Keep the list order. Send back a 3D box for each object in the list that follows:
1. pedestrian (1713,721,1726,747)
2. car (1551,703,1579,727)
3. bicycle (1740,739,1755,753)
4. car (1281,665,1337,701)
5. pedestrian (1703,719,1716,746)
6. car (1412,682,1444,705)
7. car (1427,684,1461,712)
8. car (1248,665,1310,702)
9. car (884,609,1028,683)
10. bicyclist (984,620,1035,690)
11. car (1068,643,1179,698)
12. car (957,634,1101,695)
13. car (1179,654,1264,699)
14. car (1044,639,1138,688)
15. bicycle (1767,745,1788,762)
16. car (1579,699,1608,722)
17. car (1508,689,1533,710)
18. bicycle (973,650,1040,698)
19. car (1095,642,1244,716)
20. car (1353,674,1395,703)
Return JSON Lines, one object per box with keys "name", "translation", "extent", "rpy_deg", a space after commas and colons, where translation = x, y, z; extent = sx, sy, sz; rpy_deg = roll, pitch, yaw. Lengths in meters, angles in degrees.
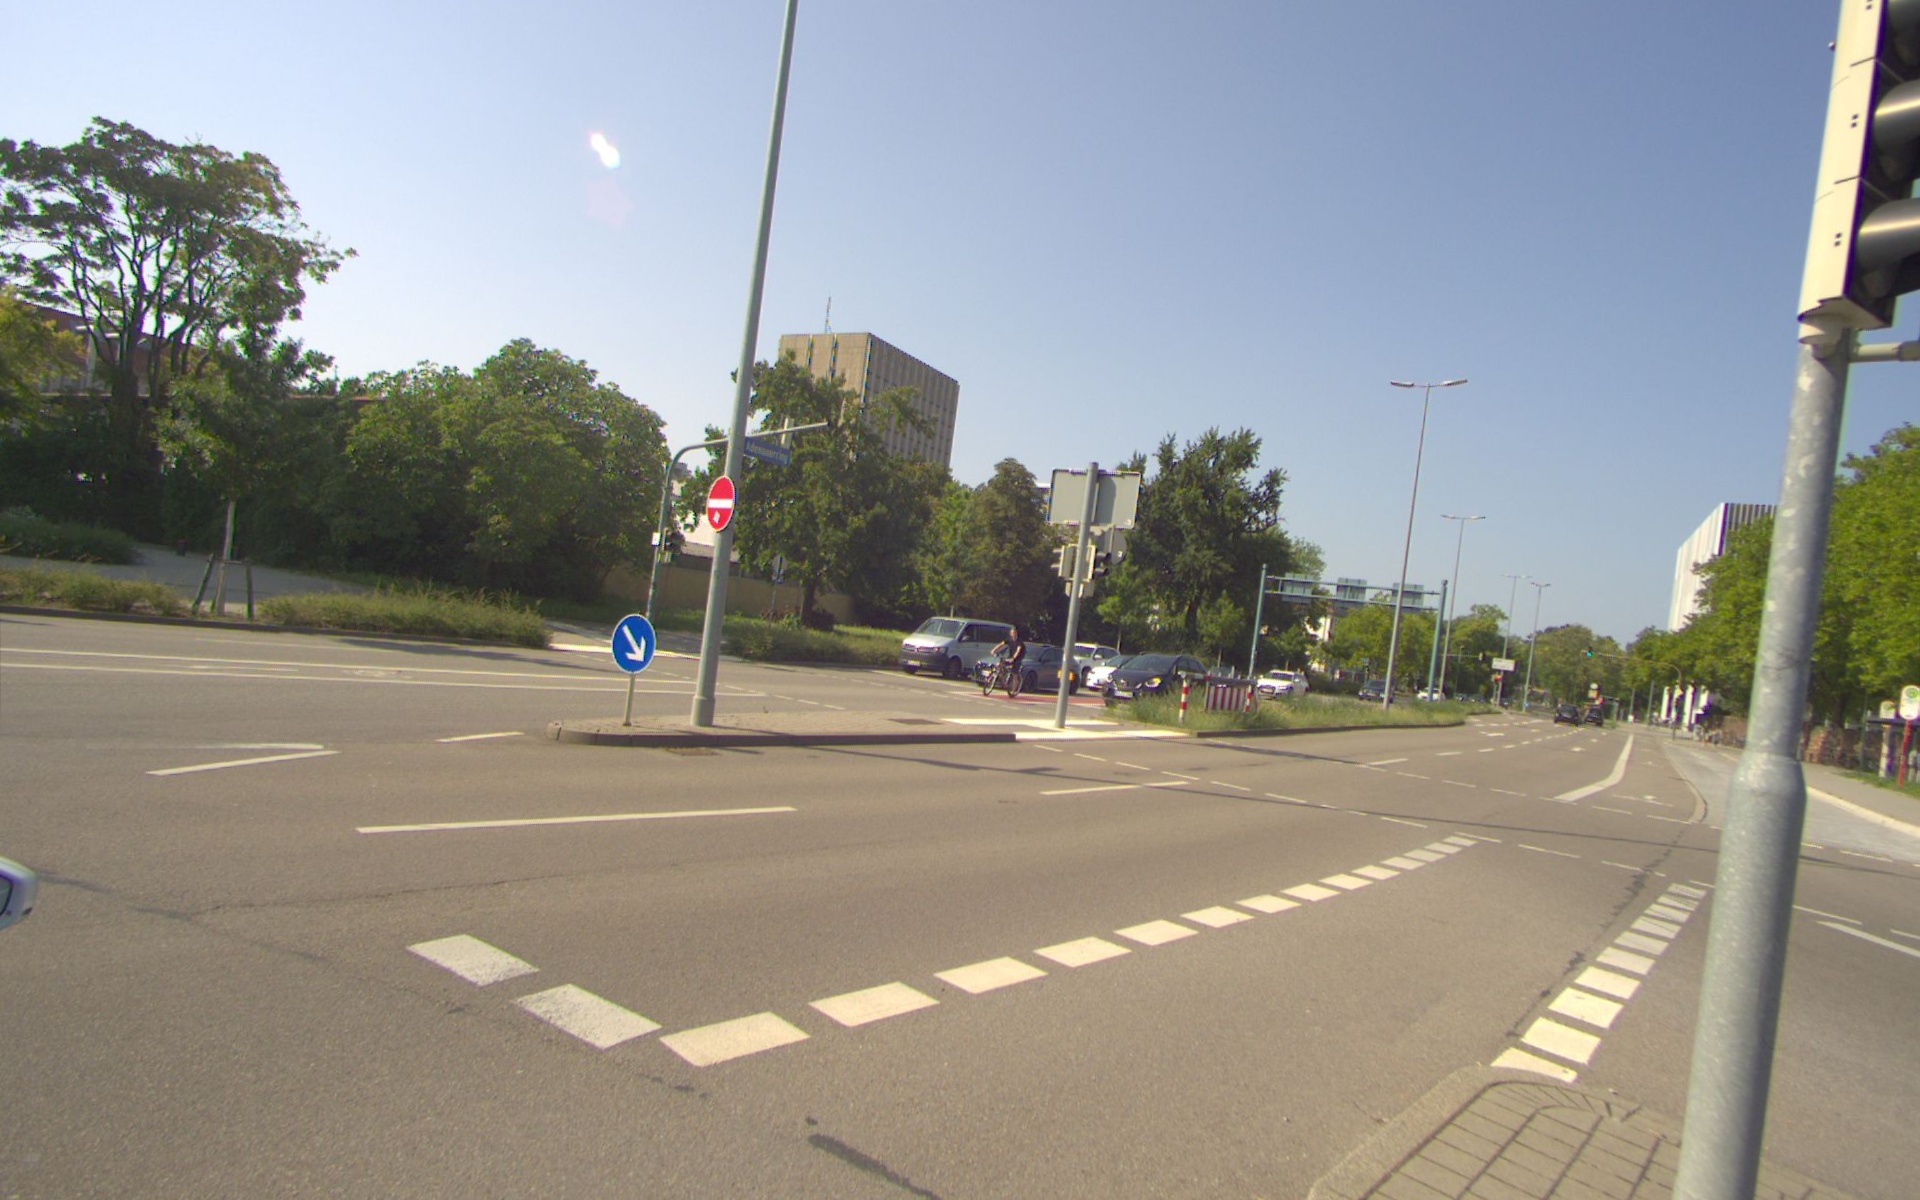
{"name": "pedestrian", "translation": [51.968, 9.169, 68.828], "extent": [0.478, 1.759, 0.505], "rpy_deg": [8, -2, 31]}
{"name": "car", "translation": [48.223, 9.126, 80.204], "extent": [1.683, 1.592, 3.995], "rpy_deg": [7, -1, 30]}
{"name": "bicycle", "translation": [55.625, 10.295, 71.085], "extent": [0.426, 0.845, 1.549], "rpy_deg": [8, -1, 26]}
{"name": "car", "translation": [19.660, 4.677, 56.571], "extent": [1.901, 1.679, 4.288], "rpy_deg": [7, -1, 32]}
{"name": "pedestrian", "translation": [51.547, 9.119, 69.171], "extent": [0.478, 1.759, 0.505], "rpy_deg": [8, -2, 31]}
{"name": "car", "translation": [40.786, 8.145, 87.660], "extent": [1.901, 1.679, 4.288], "rpy_deg": [7, -1, 32]}
{"name": "car", "translation": [33.170, 6.722, 68.892], "extent": [1.683, 1.592, 3.995], "rpy_deg": [7, -1, 30]}
{"name": "car", "translation": [16.197, 4.243, 50.912], "extent": [1.901, 1.523, 4.288], "rpy_deg": [7, -1, 32]}
{"name": "car", "translation": [-0.031, 1.550, 32.601], "extent": [1.819, 1.897, 4.957], "rpy_deg": [7, -1, 38]}
{"name": "bicyclist", "translation": [1.260, 1.400, 25.504], "extent": [0.737, 1.655, 0.873], "rpy_deg": [8, 0, 36]}
{"name": "car", "translation": [5.981, 2.577, 36.438], "extent": [1.970, 1.523, 4.420], "rpy_deg": [7, -1, 38]}
{"name": "car", "translation": [2.209, 2.019, 30.819], "extent": [1.883, 1.417, 4.904], "rpy_deg": [7, -1, 38]}
{"name": "car", "translation": [11.467, 3.368, 43.968], "extent": [1.970, 1.523, 4.281], "rpy_deg": [7, -1, 37]}
{"name": "car", "translation": [5.232, 2.541, 39.821], "extent": [1.783, 1.523, 3.955], "rpy_deg": [7, -1, 38]}
{"name": "bicycle", "translation": [52.283, 9.807, 64.356], "extent": [0.426, 0.845, 1.550], "rpy_deg": [8, -1, 19]}
{"name": "car", "translation": [67.864, 11.850, 107.836], "extent": [1.885, 2.035, 4.003], "rpy_deg": [8, -3, 25]}
{"name": "car", "translation": [63.279, 11.278, 113.638], "extent": [1.885, 2.035, 4.003], "rpy_deg": [8, -3, 25]}
{"name": "bicycle", "translation": [1.196, 1.882, 25.514], "extent": [0.758, 1.065, 1.770], "rpy_deg": [8, 0, 35]}
{"name": "car", "translation": [5.677, 2.154, 26.824], "extent": [1.827, 1.597, 4.697], "rpy_deg": [5, -2, 39]}
{"name": "car", "translation": [28.931, 6.185, 70.157], "extent": [1.901, 1.679, 4.288], "rpy_deg": [7, -1, 32]}
